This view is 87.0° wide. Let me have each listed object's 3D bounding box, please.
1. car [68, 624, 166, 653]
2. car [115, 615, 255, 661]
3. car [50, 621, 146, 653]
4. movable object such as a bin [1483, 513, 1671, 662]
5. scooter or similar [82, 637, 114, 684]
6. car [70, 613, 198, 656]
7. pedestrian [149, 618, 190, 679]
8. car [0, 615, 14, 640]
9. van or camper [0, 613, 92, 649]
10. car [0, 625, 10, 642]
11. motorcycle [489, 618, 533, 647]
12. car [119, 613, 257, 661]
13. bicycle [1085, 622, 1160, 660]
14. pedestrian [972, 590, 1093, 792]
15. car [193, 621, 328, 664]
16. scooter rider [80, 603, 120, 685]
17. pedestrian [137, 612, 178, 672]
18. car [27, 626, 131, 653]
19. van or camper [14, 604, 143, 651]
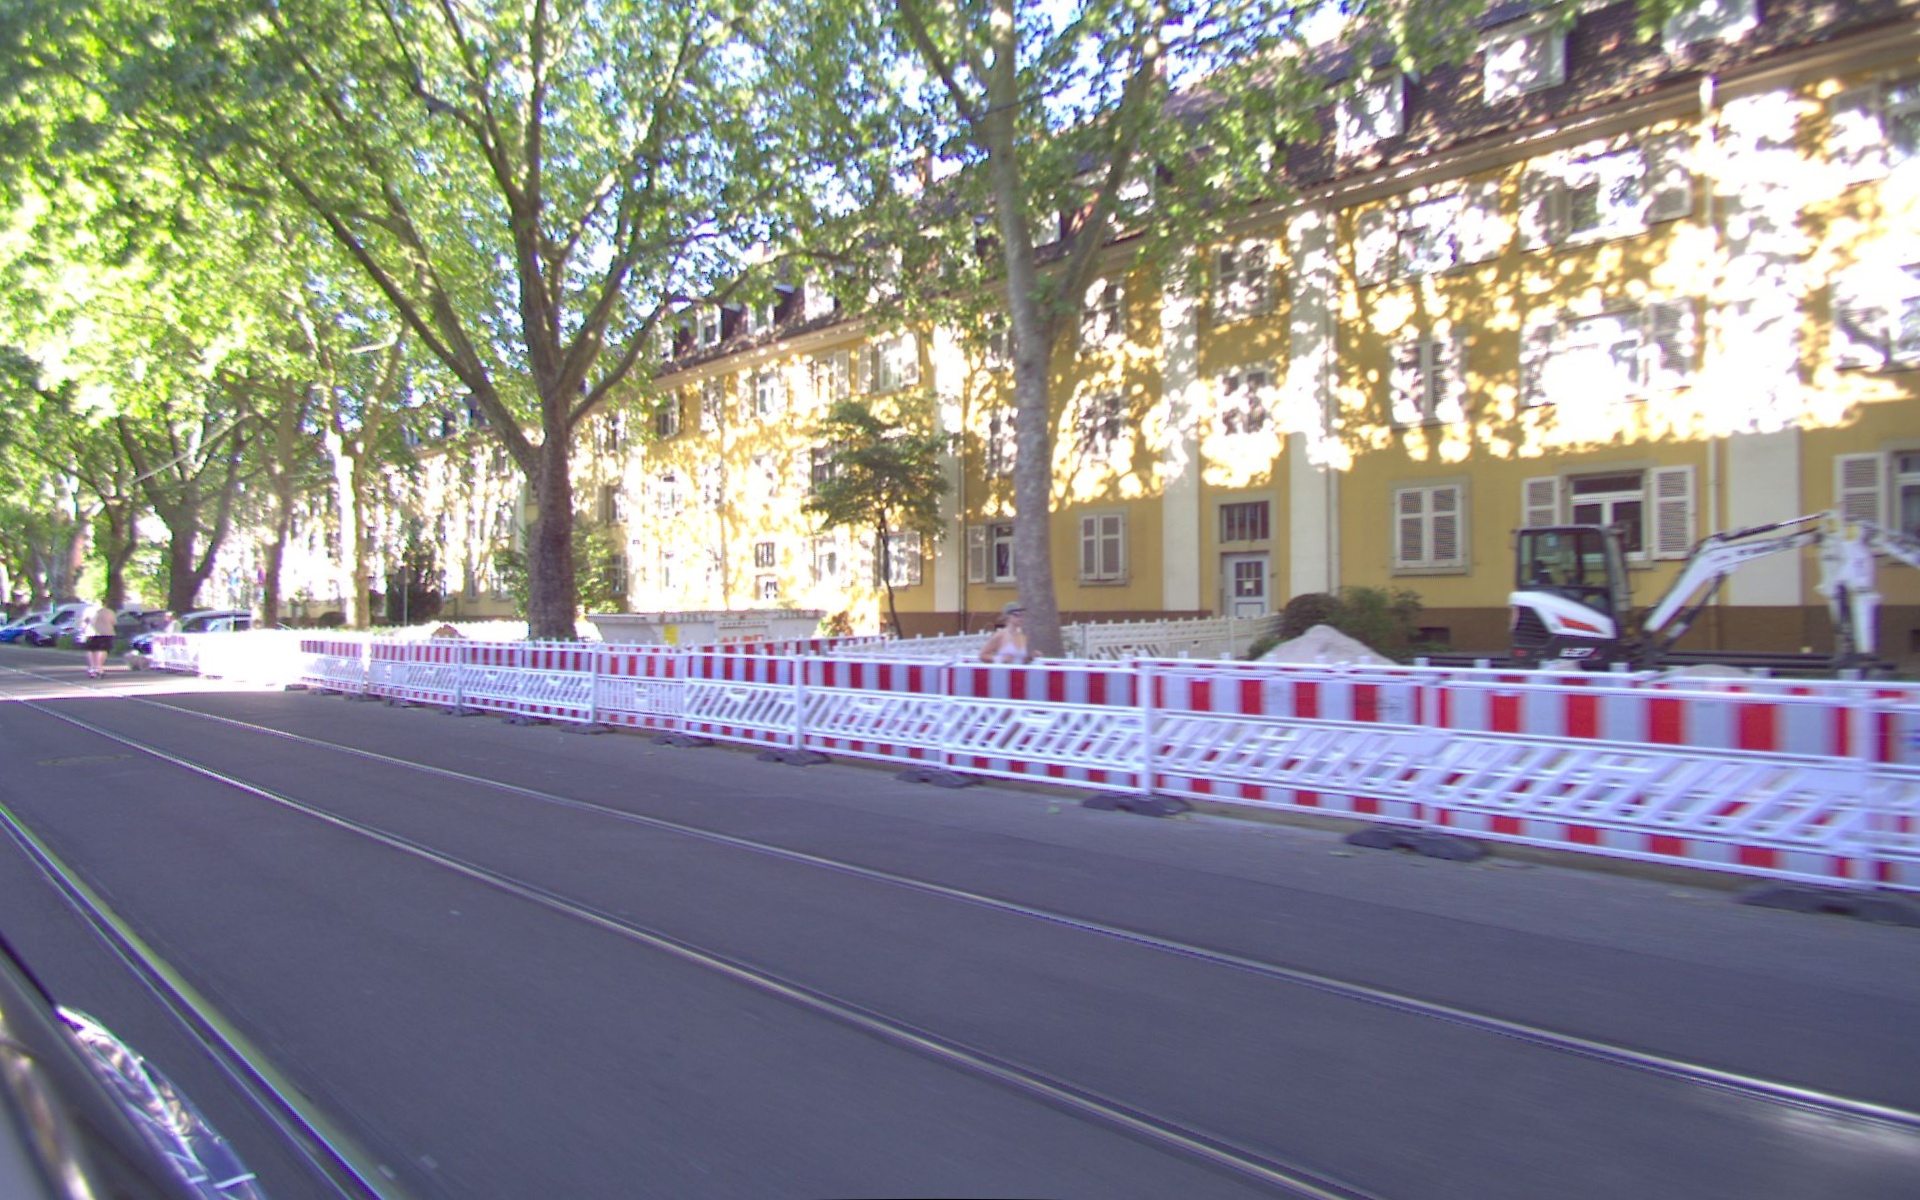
[{"bbox_3d":[-45.390,2.053,54.520,1.861,1.509,3.807,-2,-2,41],"label":"car"},{"bbox_3d":[-29.907,1.430,39.113,4.183,1.701,1.935,1,-2,-42],"label":"car"},{"bbox_3d":[-47.369,2.000,55.678,1.861,1.675,3.807,-2,-2,41],"label":"car"},{"bbox_3d":[8.493,-0.153,13.950,2.007,1.883,1.319,-1,0,41],"label":"movable object such as a bin"},{"bbox_3d":[-21.111,1.474,24.782,1.338,1.091,0.403,-1,0,42],"label":"scooter or similar"},{"bbox_3d":[-40.813,1.667,50.084,1.959,1.960,4.613,-2,-1,38],"label":"car"},{"bbox_3d":[-23.406,1.411,29.961,0.796,1.758,0.813,-1,0,41],"label":"pedestrian"},{"bbox_3d":[-94.596,2.727,97.442,2.026,2.416,4.956,-3,-1,39],"label":"car"},{"bbox_3d":[-60.655,2.012,66.849,2.118,2.206,4.771,-2,-1,40],"label":"van or camper"},{"bbox_3d":[-89.480,3.151,92.193,1.923,1.527,4.119,-3,-1,39],"label":"car"},{"bbox_3d":[-19.459,1.401,43.882,0.523,1.250,1.691,-2,-2,42],"label":"motorcycle"},{"bbox_3d":[-31.222,1.461,41.041,1.738,1.771,4.158,-2,-1,39],"label":"car"},{"bbox_3d":[3.697,0.931,23.133,1.641,0.825,0.501,-1,-1,38],"label":"bicycle"},{"bbox_3d":[0.644,0.766,8.999,0.778,1.682,0.709,-1,0,42],"label":"pedestrian"},{"bbox_3d":[-25.857,1.538,37.481,1.861,1.509,3.807,-2,-2,41],"label":"car"},{"bbox_3d":[-21.176,1.063,24.917,0.624,1.972,0.642,-1,0,41],"label":"scooter rider"},{"bbox_3d":[-24.157,1.252,30.468,0.796,1.758,0.813,-1,0,41],"label":"pedestrian"},{"bbox_3d":[-49.326,2.179,56.745,1.752,1.409,4.219,-2,-2,41],"label":"car"},{"bbox_3d":[-51.028,1.560,58.692,2.443,2.535,5.334,-2,-1,40],"label":"van or camper"}]
